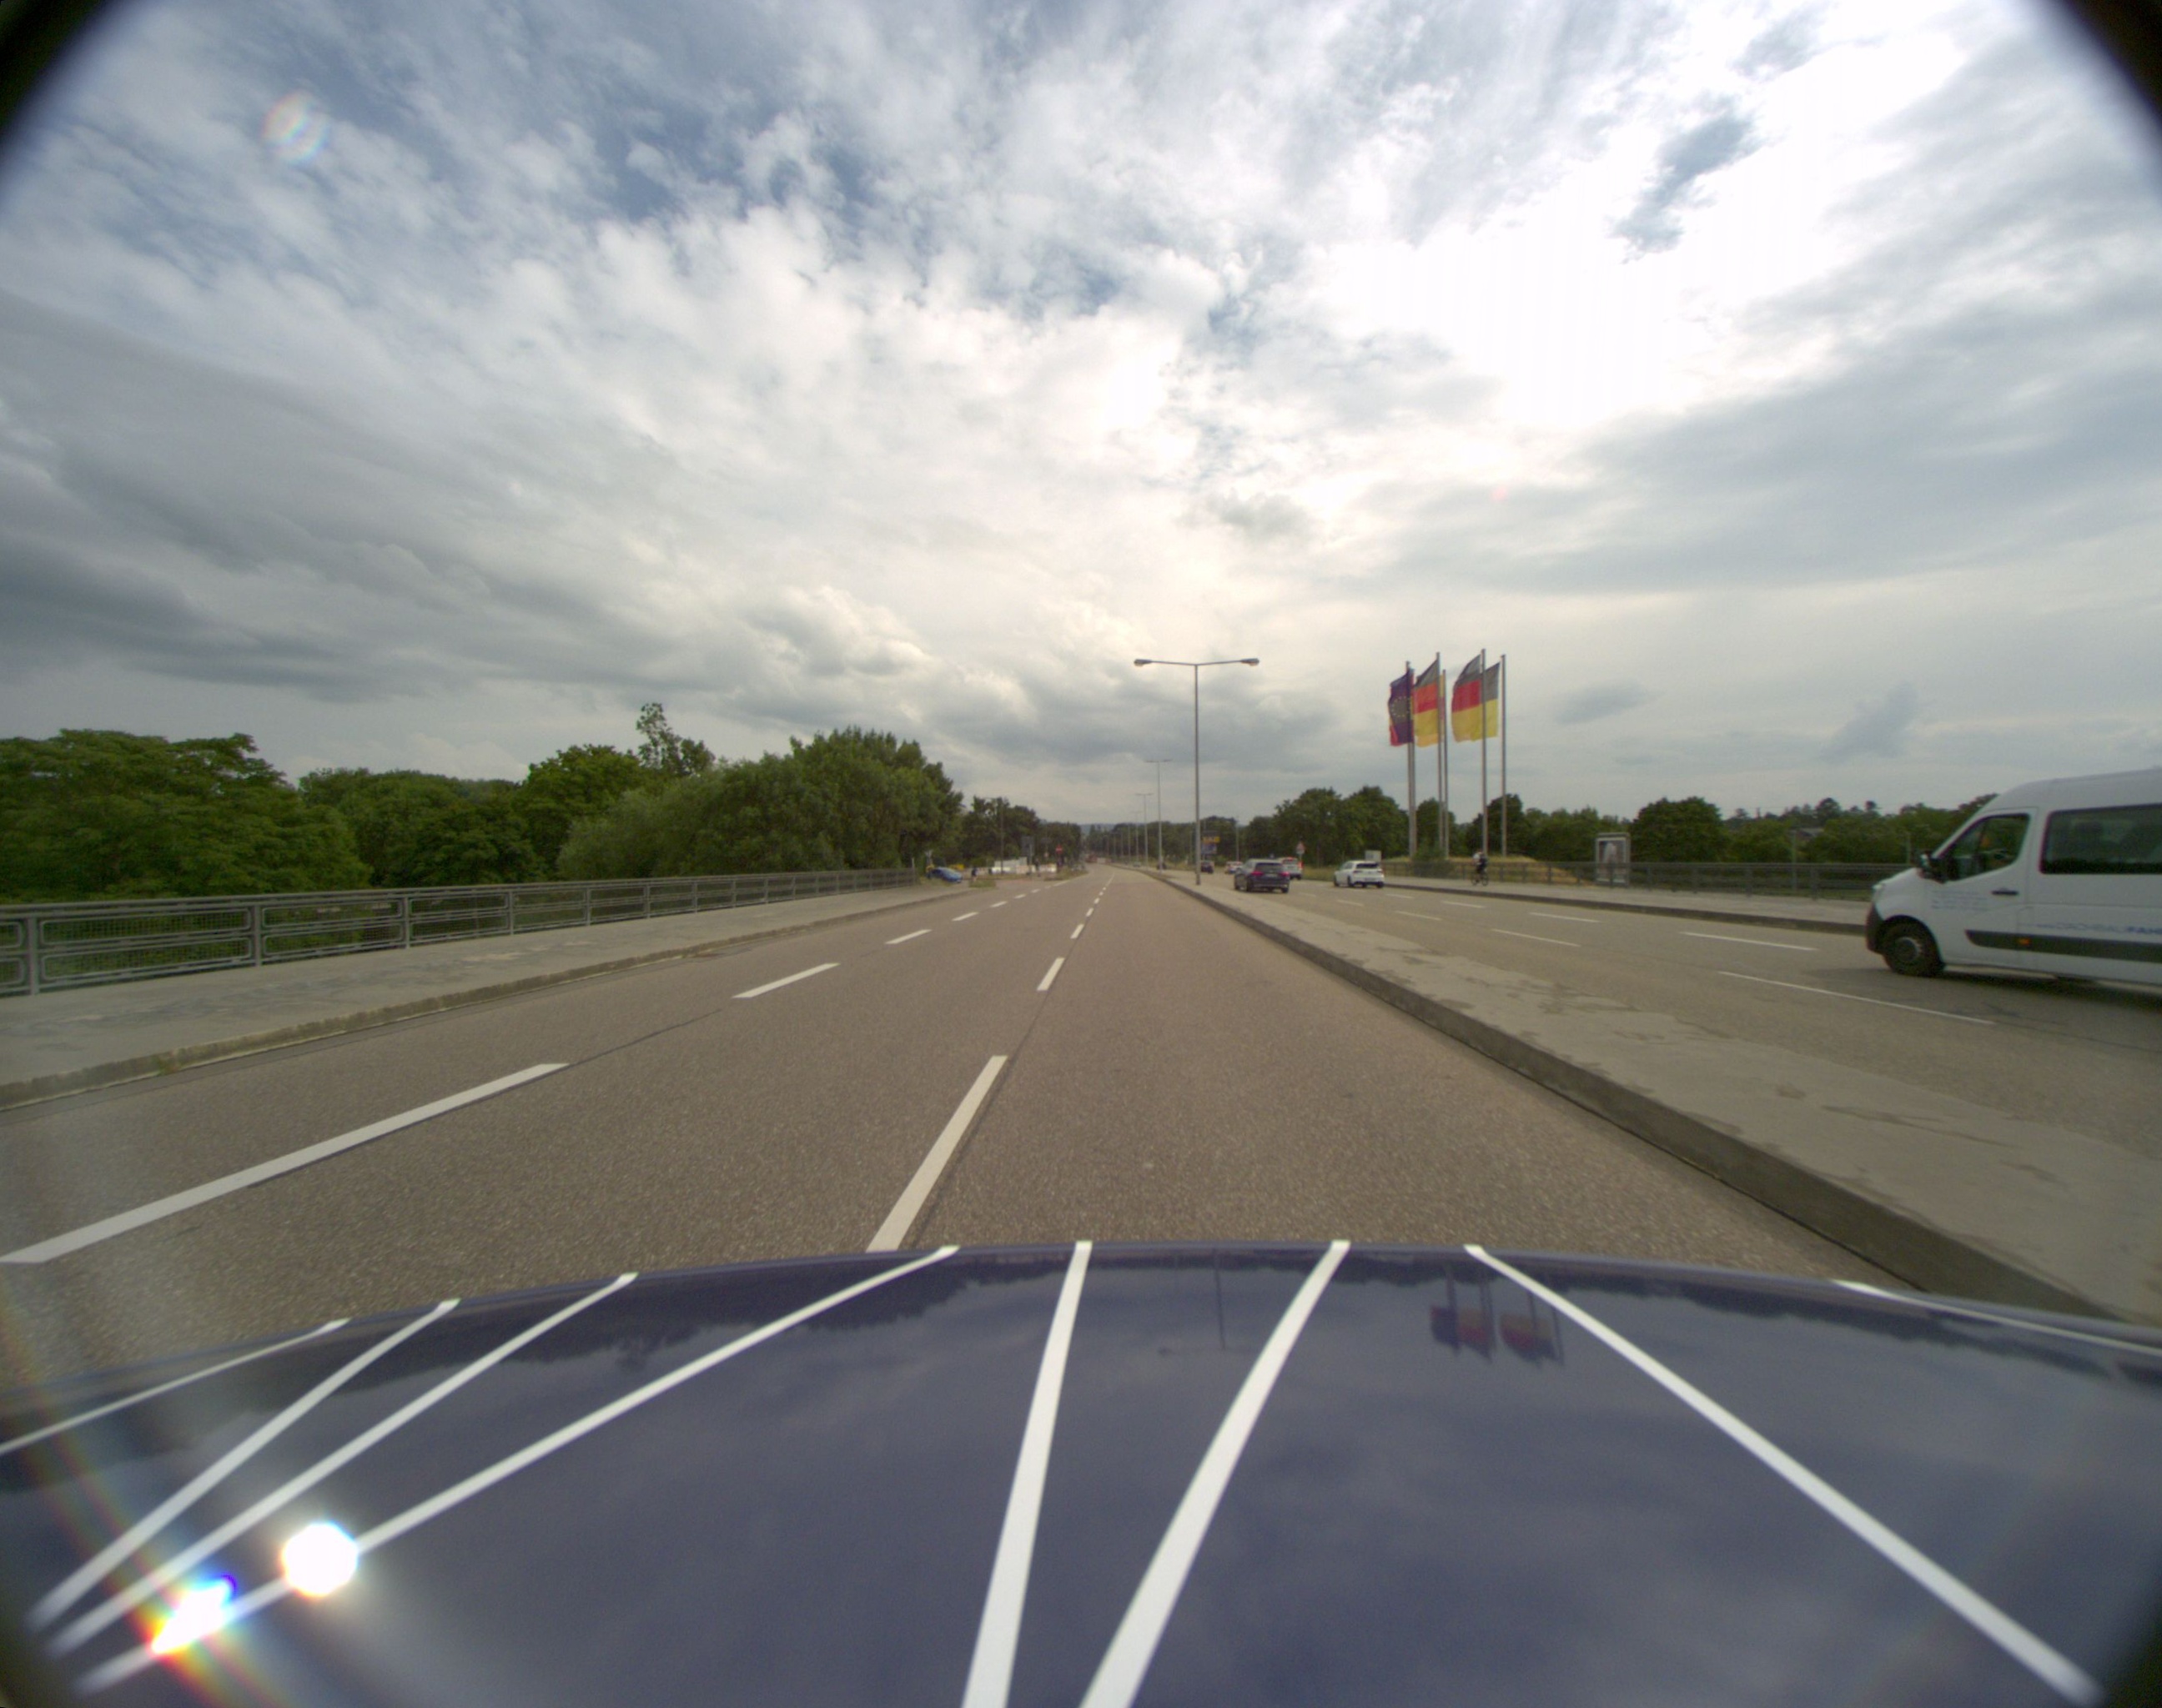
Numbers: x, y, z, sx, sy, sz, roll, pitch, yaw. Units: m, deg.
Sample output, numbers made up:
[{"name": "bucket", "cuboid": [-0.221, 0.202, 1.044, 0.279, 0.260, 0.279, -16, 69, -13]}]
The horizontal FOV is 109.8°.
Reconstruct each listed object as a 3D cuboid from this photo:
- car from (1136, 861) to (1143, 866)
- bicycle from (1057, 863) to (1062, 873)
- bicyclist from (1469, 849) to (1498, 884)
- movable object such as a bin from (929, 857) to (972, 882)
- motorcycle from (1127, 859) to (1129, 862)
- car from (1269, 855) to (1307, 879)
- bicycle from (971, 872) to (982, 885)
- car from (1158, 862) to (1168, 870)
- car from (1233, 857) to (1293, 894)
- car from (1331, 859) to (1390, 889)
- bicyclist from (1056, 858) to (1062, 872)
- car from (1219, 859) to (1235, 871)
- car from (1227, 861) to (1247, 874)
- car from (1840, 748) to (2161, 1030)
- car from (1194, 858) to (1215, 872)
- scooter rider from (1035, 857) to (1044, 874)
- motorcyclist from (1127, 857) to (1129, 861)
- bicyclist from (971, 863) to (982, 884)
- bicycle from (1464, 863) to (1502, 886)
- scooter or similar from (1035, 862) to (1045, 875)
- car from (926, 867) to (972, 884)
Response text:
[{"name": "car", "cuboid": [17.546, 2.779, 226.527, 1.851, 1.591, 4.562, 0, -1, 2]}, {"name": "bicycle", "cuboid": [-2.582, 1.685, 91.533, 0.575, 1.141, 1.982, 0, -1, 0]}, {"name": "bicyclist", "cuboid": [19.150, 0.567, 36.174, 0.797, 1.617, 0.976, -2, 0, 0]}, {"name": "movable object such as a bin", "cuboid": [-15.298, 1.828, 89.197, 4.510, 2.673, 2.103, -2, 0, 7]}, {"name": "motorcycle", "cuboid": [16.264, 2.175, 262.699, 0.524, 0.961, 2.220, 0, -1, 1]}, {"name": "car", "cuboid": [15.876, 0.967, 58.495, 1.867, 1.715, 4.771, 1, 0, 4]}, {"name": "bicycle", "cuboid": [-8.525, 2.023, 62.064, 0.578, 1.015, 1.977, 2, -2, 3]}, {"name": "car", "cuboid": [16.894, 2.450, 155.865, 1.767, 1.432, 4.178, 1, -1, 3]}, {"name": "car", "cuboid": [7.999, 0.903, 33.861, 1.742, 1.472, 4.777, 1, 0, 3]}, {"name": "car", "cuboid": [15.178, 1.038, 41.467, 1.742, 1.472, 4.472, 1, 0, 3]}, {"name": "bicyclist", "cuboid": [-2.607, 1.328, 91.533, 0.653, 1.648, 0.876, -2, 0, 0]}, {"name": "car", "cuboid": [19.034, 1.428, 99.170, 1.552, 1.568, 3.692, 1, -1, 4]}, {"name": "car", "cuboid": [18.126, 1.584, 88.415, 1.653, 1.506, 4.017, 1, -1, 4]}, {"name": "car", "cuboid": [11.113, 0.340, 7.177, 2.057, 2.627, 6.404, 1, 0, 7]}, {"name": "car", "cuboid": [14.466, 1.279, 89.096, 1.744, 1.507, 4.316, 1, 0, 1]}, {"name": "scooter rider", "cuboid": [-4.128, 1.129, 76.037, 0.588, 1.680, 0.744, -2, 1, 16]}, {"name": "motorcyclist", "cuboid": [16.272, 1.778, 262.790, 0.772, 1.578, 0.896, 0, 0, 1]}, {"name": "bicyclist", "cuboid": [-8.542, 1.582, 62.047, 0.666, 1.649, 0.805, -2, -1, 2]}, {"name": "bicycle", "cuboid": [19.208, 0.979, 36.381, 0.708, 1.043, 2.060, -2, 0, 0]}, {"name": "scooter or similar", "cuboid": [-4.110, 1.424, 76.036, 0.588, 1.217, 1.204, -2, 0, 17]}, {"name": "car", "cuboid": [-12.626, 2.028, 72.459, 3.990, 1.509, 1.883, -2, 0, 30]}]
